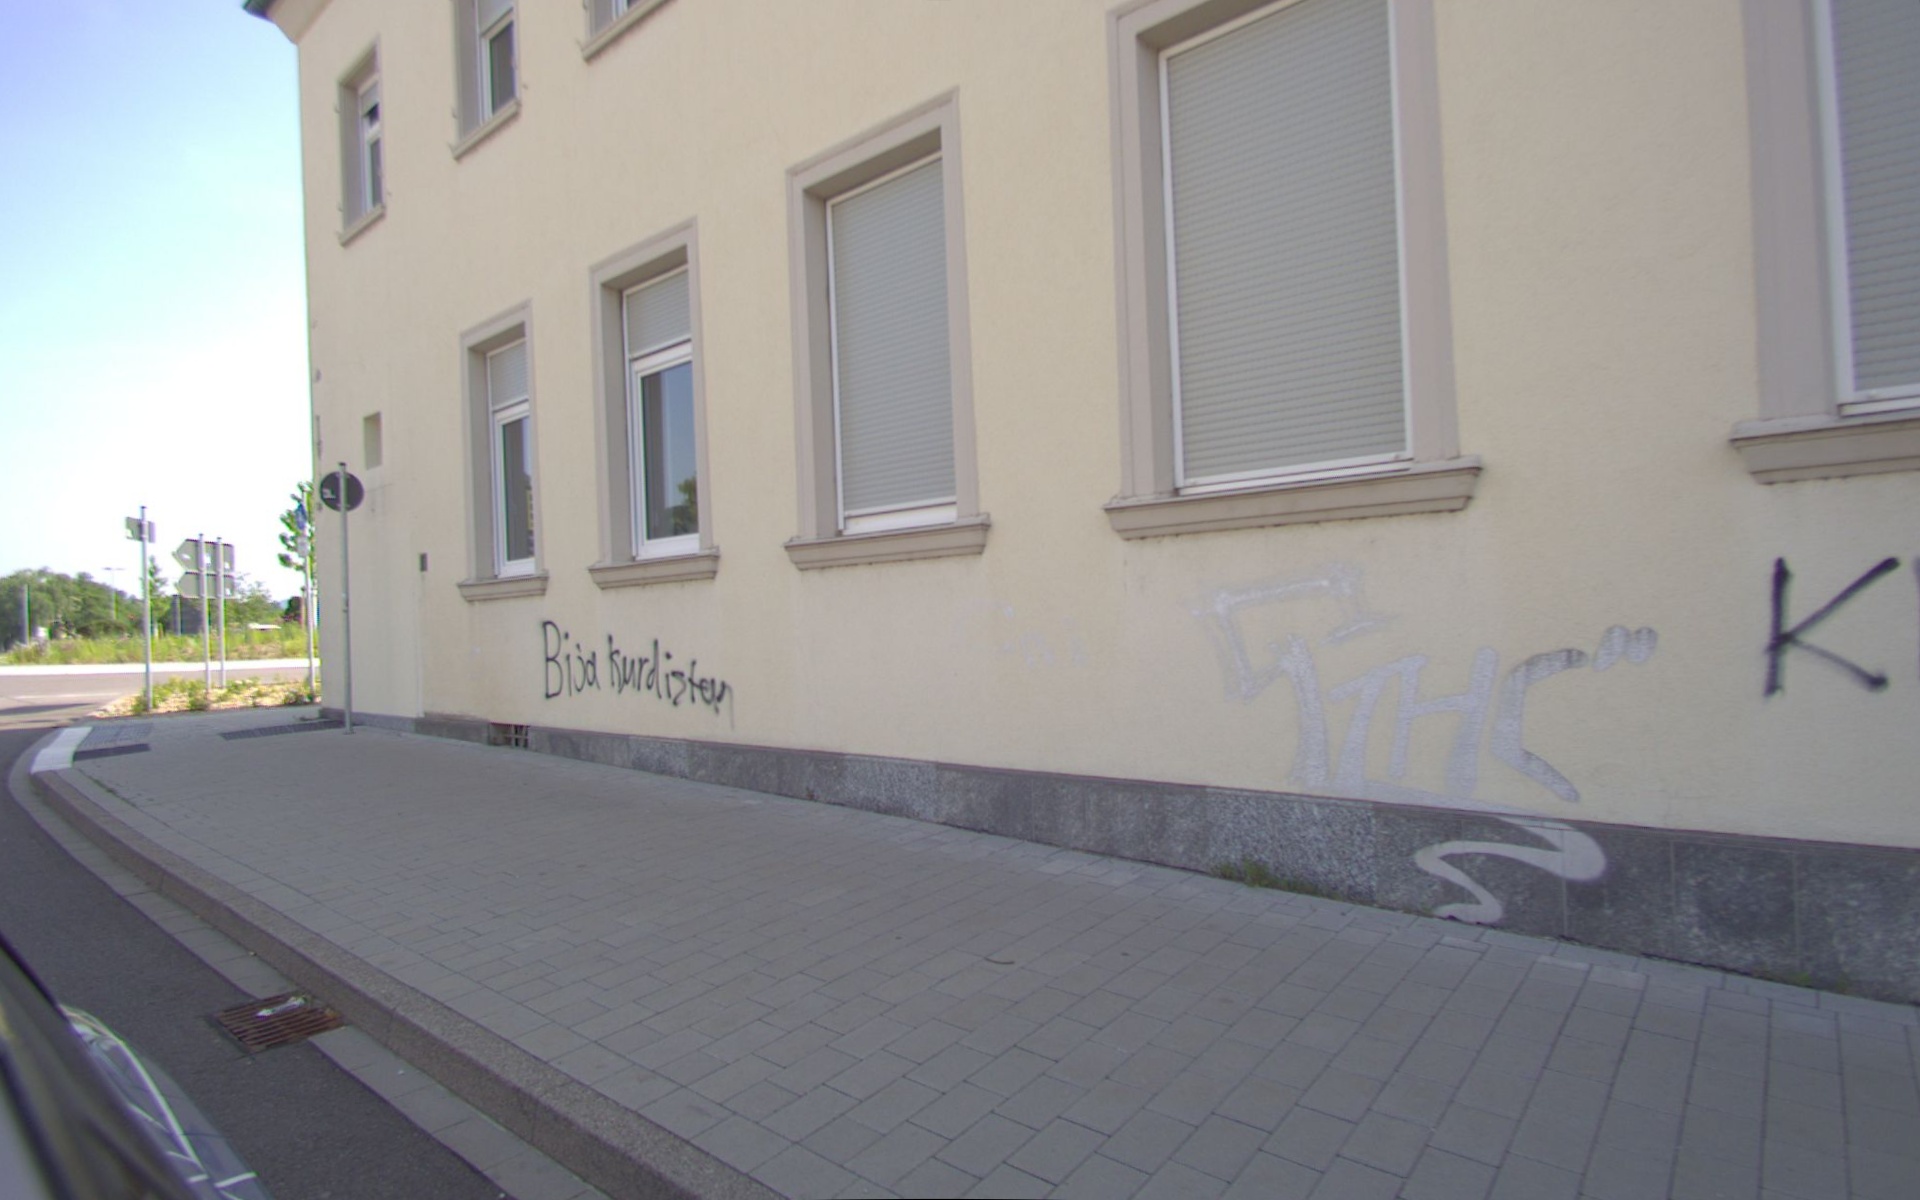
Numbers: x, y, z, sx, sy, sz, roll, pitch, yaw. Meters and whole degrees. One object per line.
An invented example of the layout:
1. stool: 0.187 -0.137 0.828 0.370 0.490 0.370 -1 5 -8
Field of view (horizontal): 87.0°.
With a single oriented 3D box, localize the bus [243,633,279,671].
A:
1. bus: -68.563 5.111 99.201 2.546 3.353 10.613 -4 0 -35
